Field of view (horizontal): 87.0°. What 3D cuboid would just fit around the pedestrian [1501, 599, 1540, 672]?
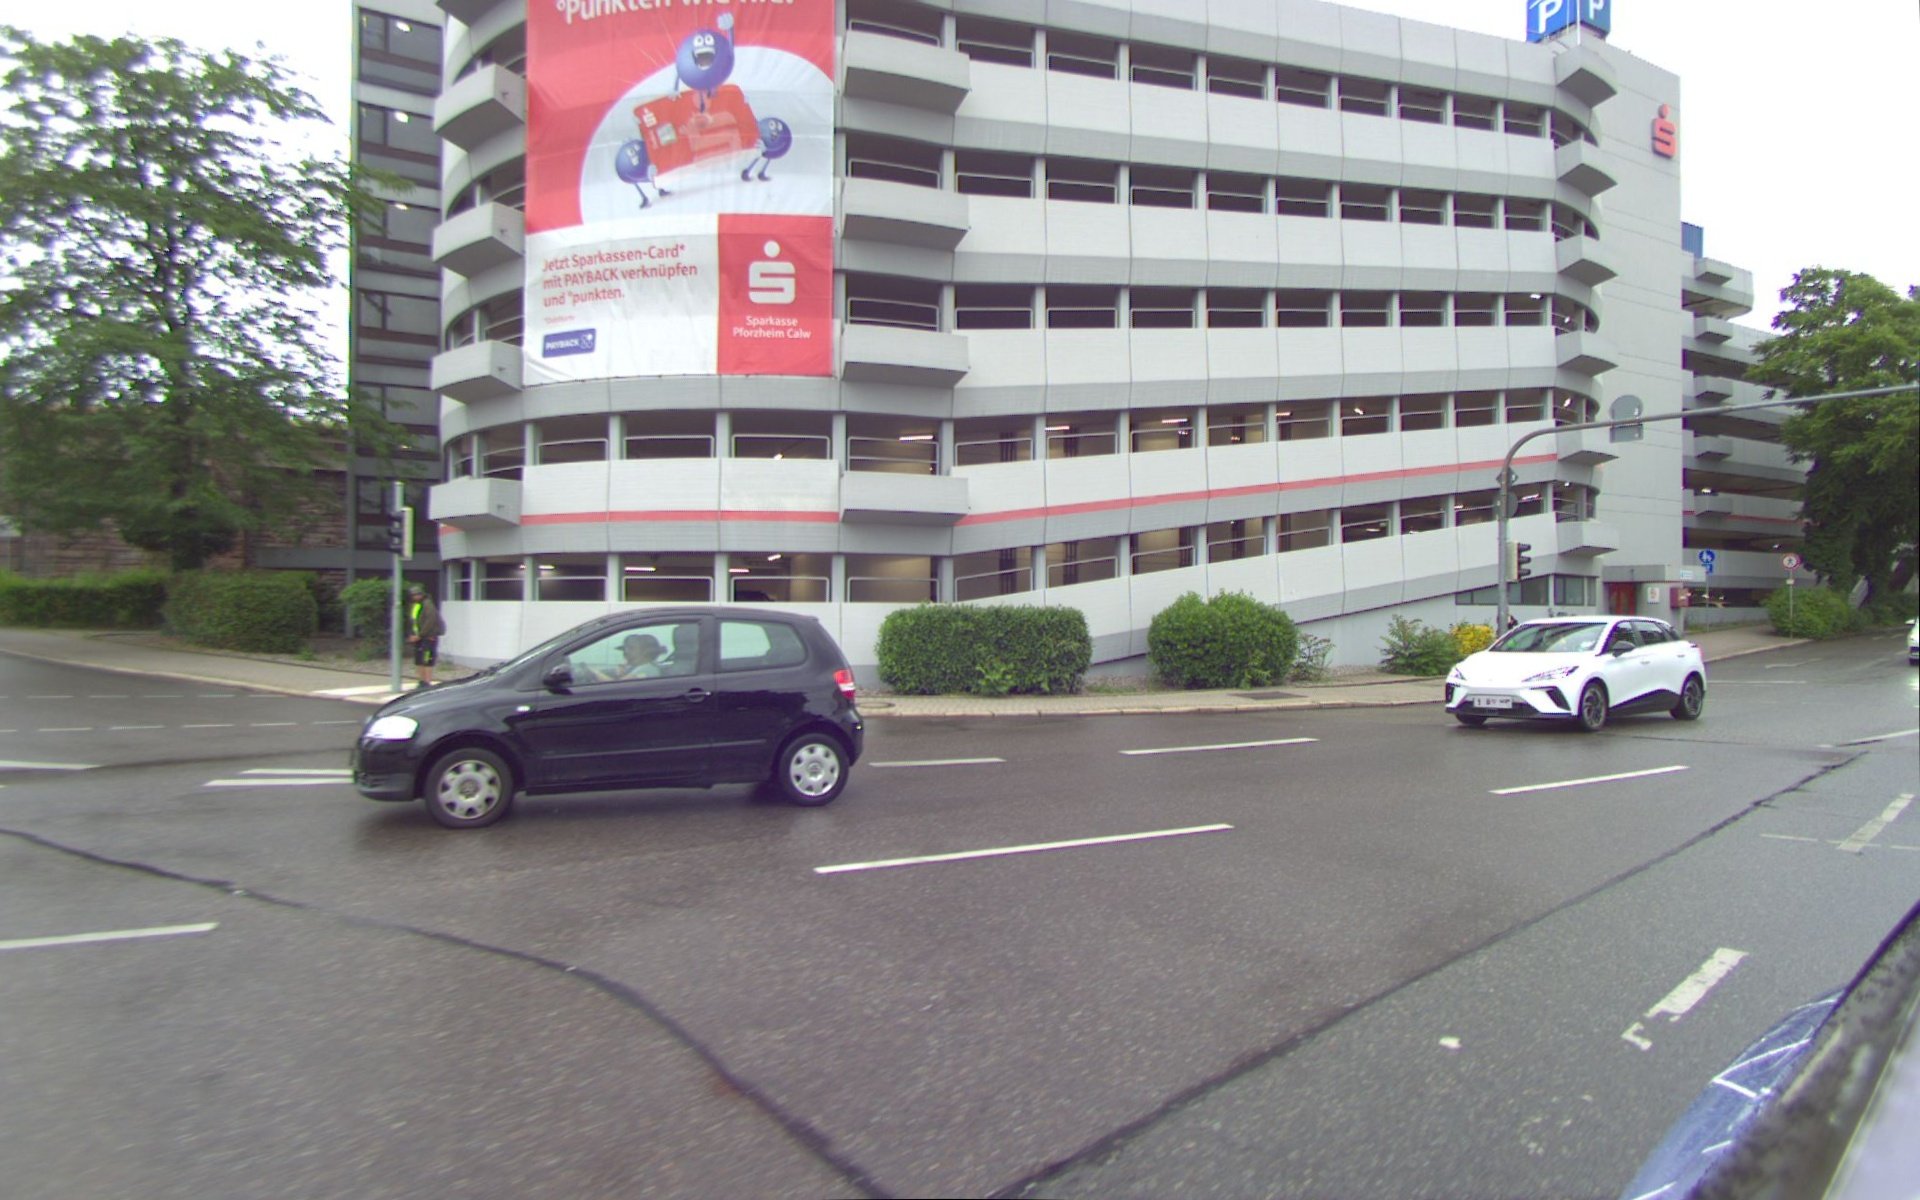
[{"bbox_3d":[13.375,0.844,24.153,0.508,1.679,0.586,-1,3,-24],"label":"pedestrian"}]

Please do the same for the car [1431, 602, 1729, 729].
[{"bbox_3d":[8.672,0.828,14.096,4.126,1.497,1.807,0,-2,-31],"label":"car"}]

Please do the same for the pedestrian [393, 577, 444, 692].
[{"bbox_3d":[-9.351,0.580,17.478,0.536,1.913,0.506,3,1,8],"label":"pedestrian"}]

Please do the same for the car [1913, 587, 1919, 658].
[{"bbox_3d":[25.744,0.584,25.513,4.321,1.748,1.998,1,0,-40],"label":"car"}]

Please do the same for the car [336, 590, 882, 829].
[{"bbox_3d":[-2.626,0.749,7.962,3.667,1.512,1.681,1,-2,-25],"label":"car"}]
